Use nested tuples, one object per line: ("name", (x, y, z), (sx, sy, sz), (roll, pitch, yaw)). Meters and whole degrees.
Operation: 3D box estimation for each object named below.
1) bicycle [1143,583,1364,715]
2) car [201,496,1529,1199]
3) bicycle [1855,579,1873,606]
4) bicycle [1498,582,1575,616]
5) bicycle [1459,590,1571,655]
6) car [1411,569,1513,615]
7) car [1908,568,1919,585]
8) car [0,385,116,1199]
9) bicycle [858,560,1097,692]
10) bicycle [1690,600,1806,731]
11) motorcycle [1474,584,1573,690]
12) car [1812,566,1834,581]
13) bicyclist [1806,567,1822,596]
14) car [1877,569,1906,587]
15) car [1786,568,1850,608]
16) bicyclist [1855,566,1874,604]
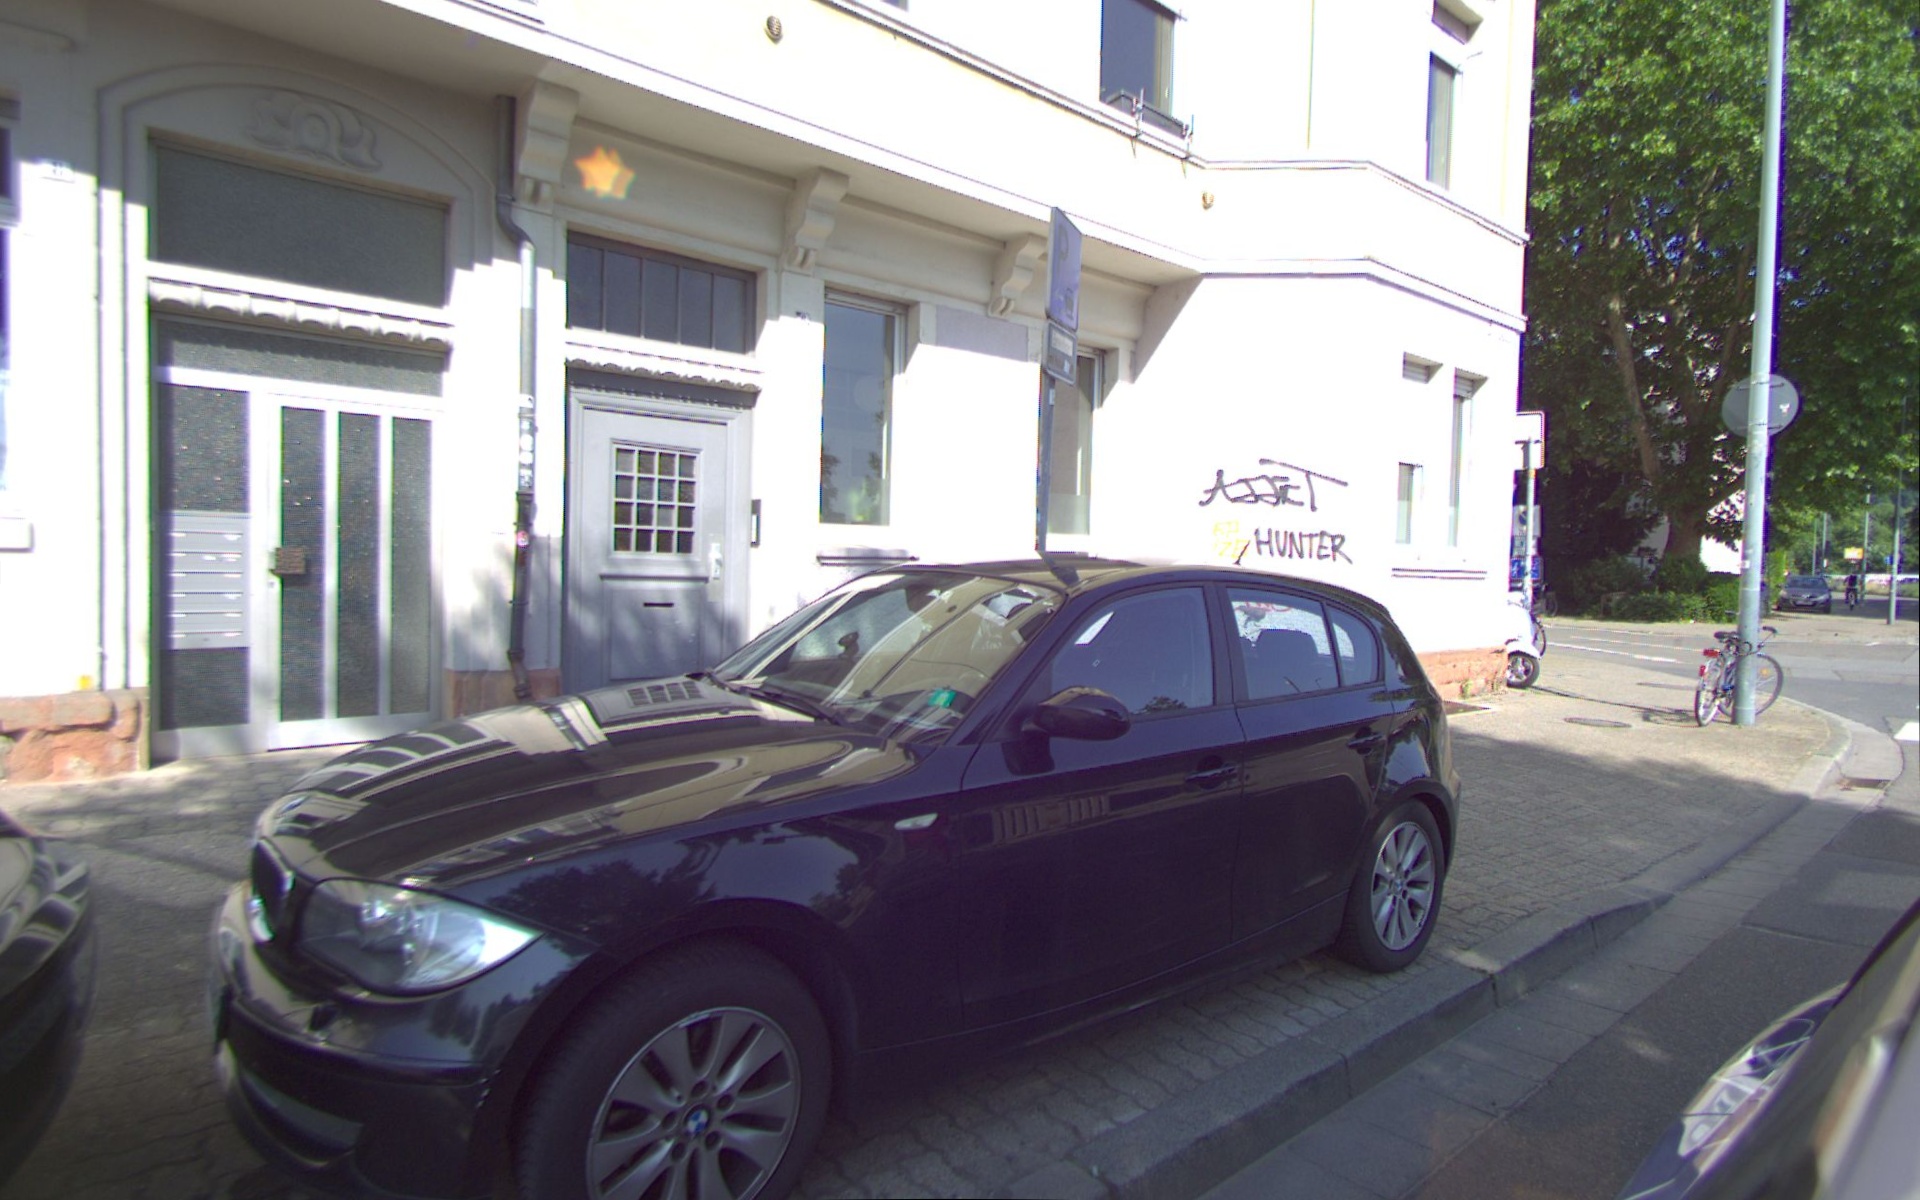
("bicycle", (2.614, 0.424, 9.140), (1.795, 1.059, 0.538), (2, 2, 4))
("car", (0.025, 0.520, 3.308), (4.006, 1.433, 1.746), (-1, 3, -38))
("bicycle", (40.727, -0.353, 45.596), (0.552, 1.203, 1.267), (3, 3, 42))
("bicycle", (18.408, -0.037, 32.326), (1.861, 0.996, 0.974), (1, 2, -2))
("bicycle", (9.943, 0.370, 18.226), (0.613, 1.047, 1.887), (0, 2, -15))
("car", (17.388, -0.310, 35.260), (1.778, 1.469, 3.792), (1, 2, 3))
("car", (108.985, -2.597, 114.216), (1.985, 1.889, 3.956), (4, 4, 31))
("car", (-3.209, 0.455, 0.748), (3.939, 1.519, 1.646), (-1, 4, -40))
("bicycle", (0.196, 0.177, 8.388), (2.077, 0.957, 0.609), (0, 4, -41))
("bicycle", (7.535, 0.575, 9.648), (1.705, 1.101, 0.577), (-1, 2, -43))
("motorcycle", (7.125, 0.424, 12.879), (0.466, 1.164, 1.761), (3, 3, 9))
("car", (112.975, -3.481, 132.499), (1.623, 1.833, 3.550), (3, 3, 33))
("bicyclist", (56.399, -1.241, 66.851), (0.643, 1.917, 0.830), (3, 2, 32))
("car", (99.652, -2.338, 108.286), (1.623, 1.833, 3.550), (3, 3, 33))
("car", (34.817, -0.527, 41.154), (1.784, 1.531, 3.840), (2, 2, 38))
("bicyclist", (40.741, -0.672, 45.587), (0.539, 1.653, 0.580), (3, 3, 43))
